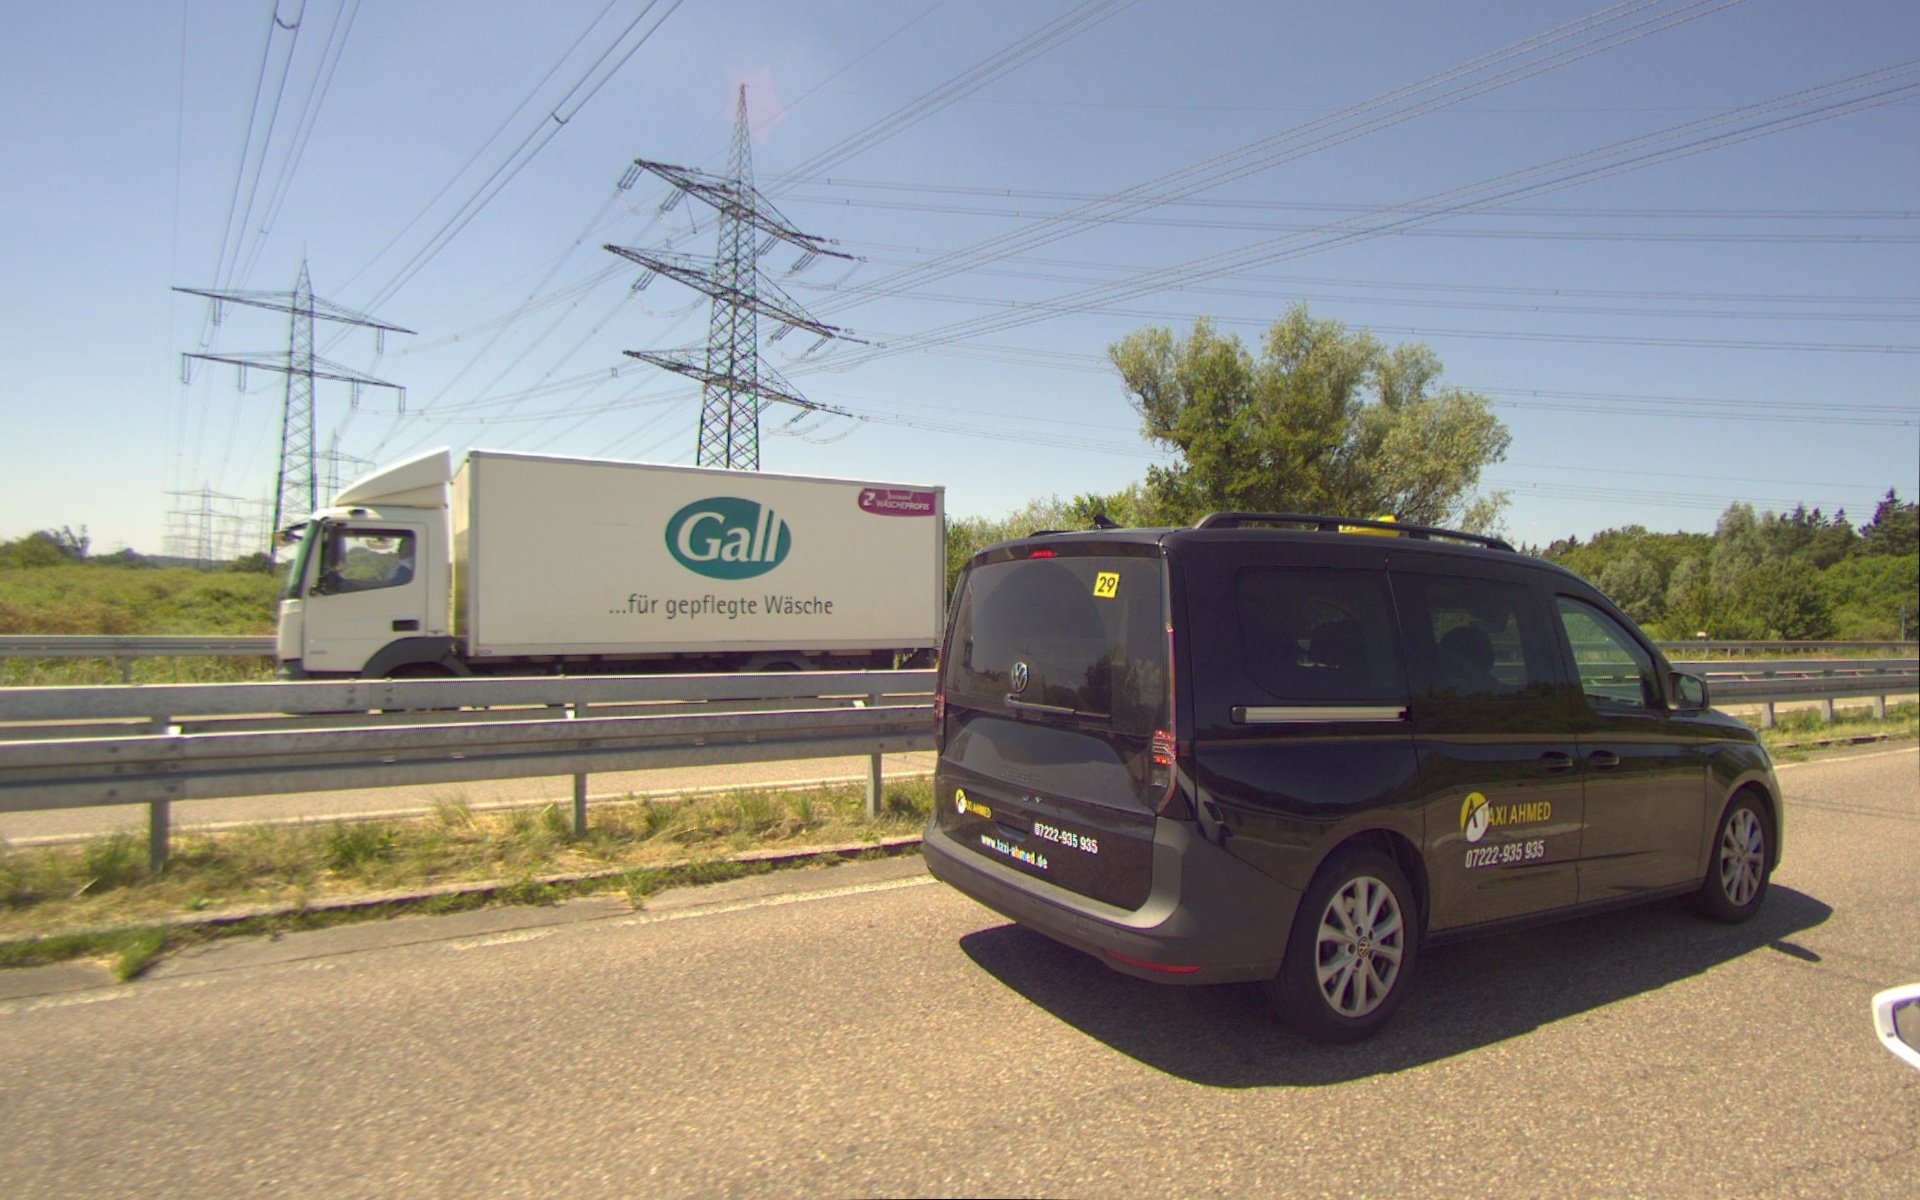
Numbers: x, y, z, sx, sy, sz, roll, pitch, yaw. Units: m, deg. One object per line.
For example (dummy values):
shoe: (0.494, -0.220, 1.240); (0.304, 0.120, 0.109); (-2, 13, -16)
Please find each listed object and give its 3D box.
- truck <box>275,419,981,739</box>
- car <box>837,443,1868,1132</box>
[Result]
truck: (-3.971, -0.118, 13.434); (8.307, 3.235, 2.705); (1, -1, -30)
car: (2.295, 0.592, 5.025); (5.510, 1.912, 1.845); (2, -1, -31)
